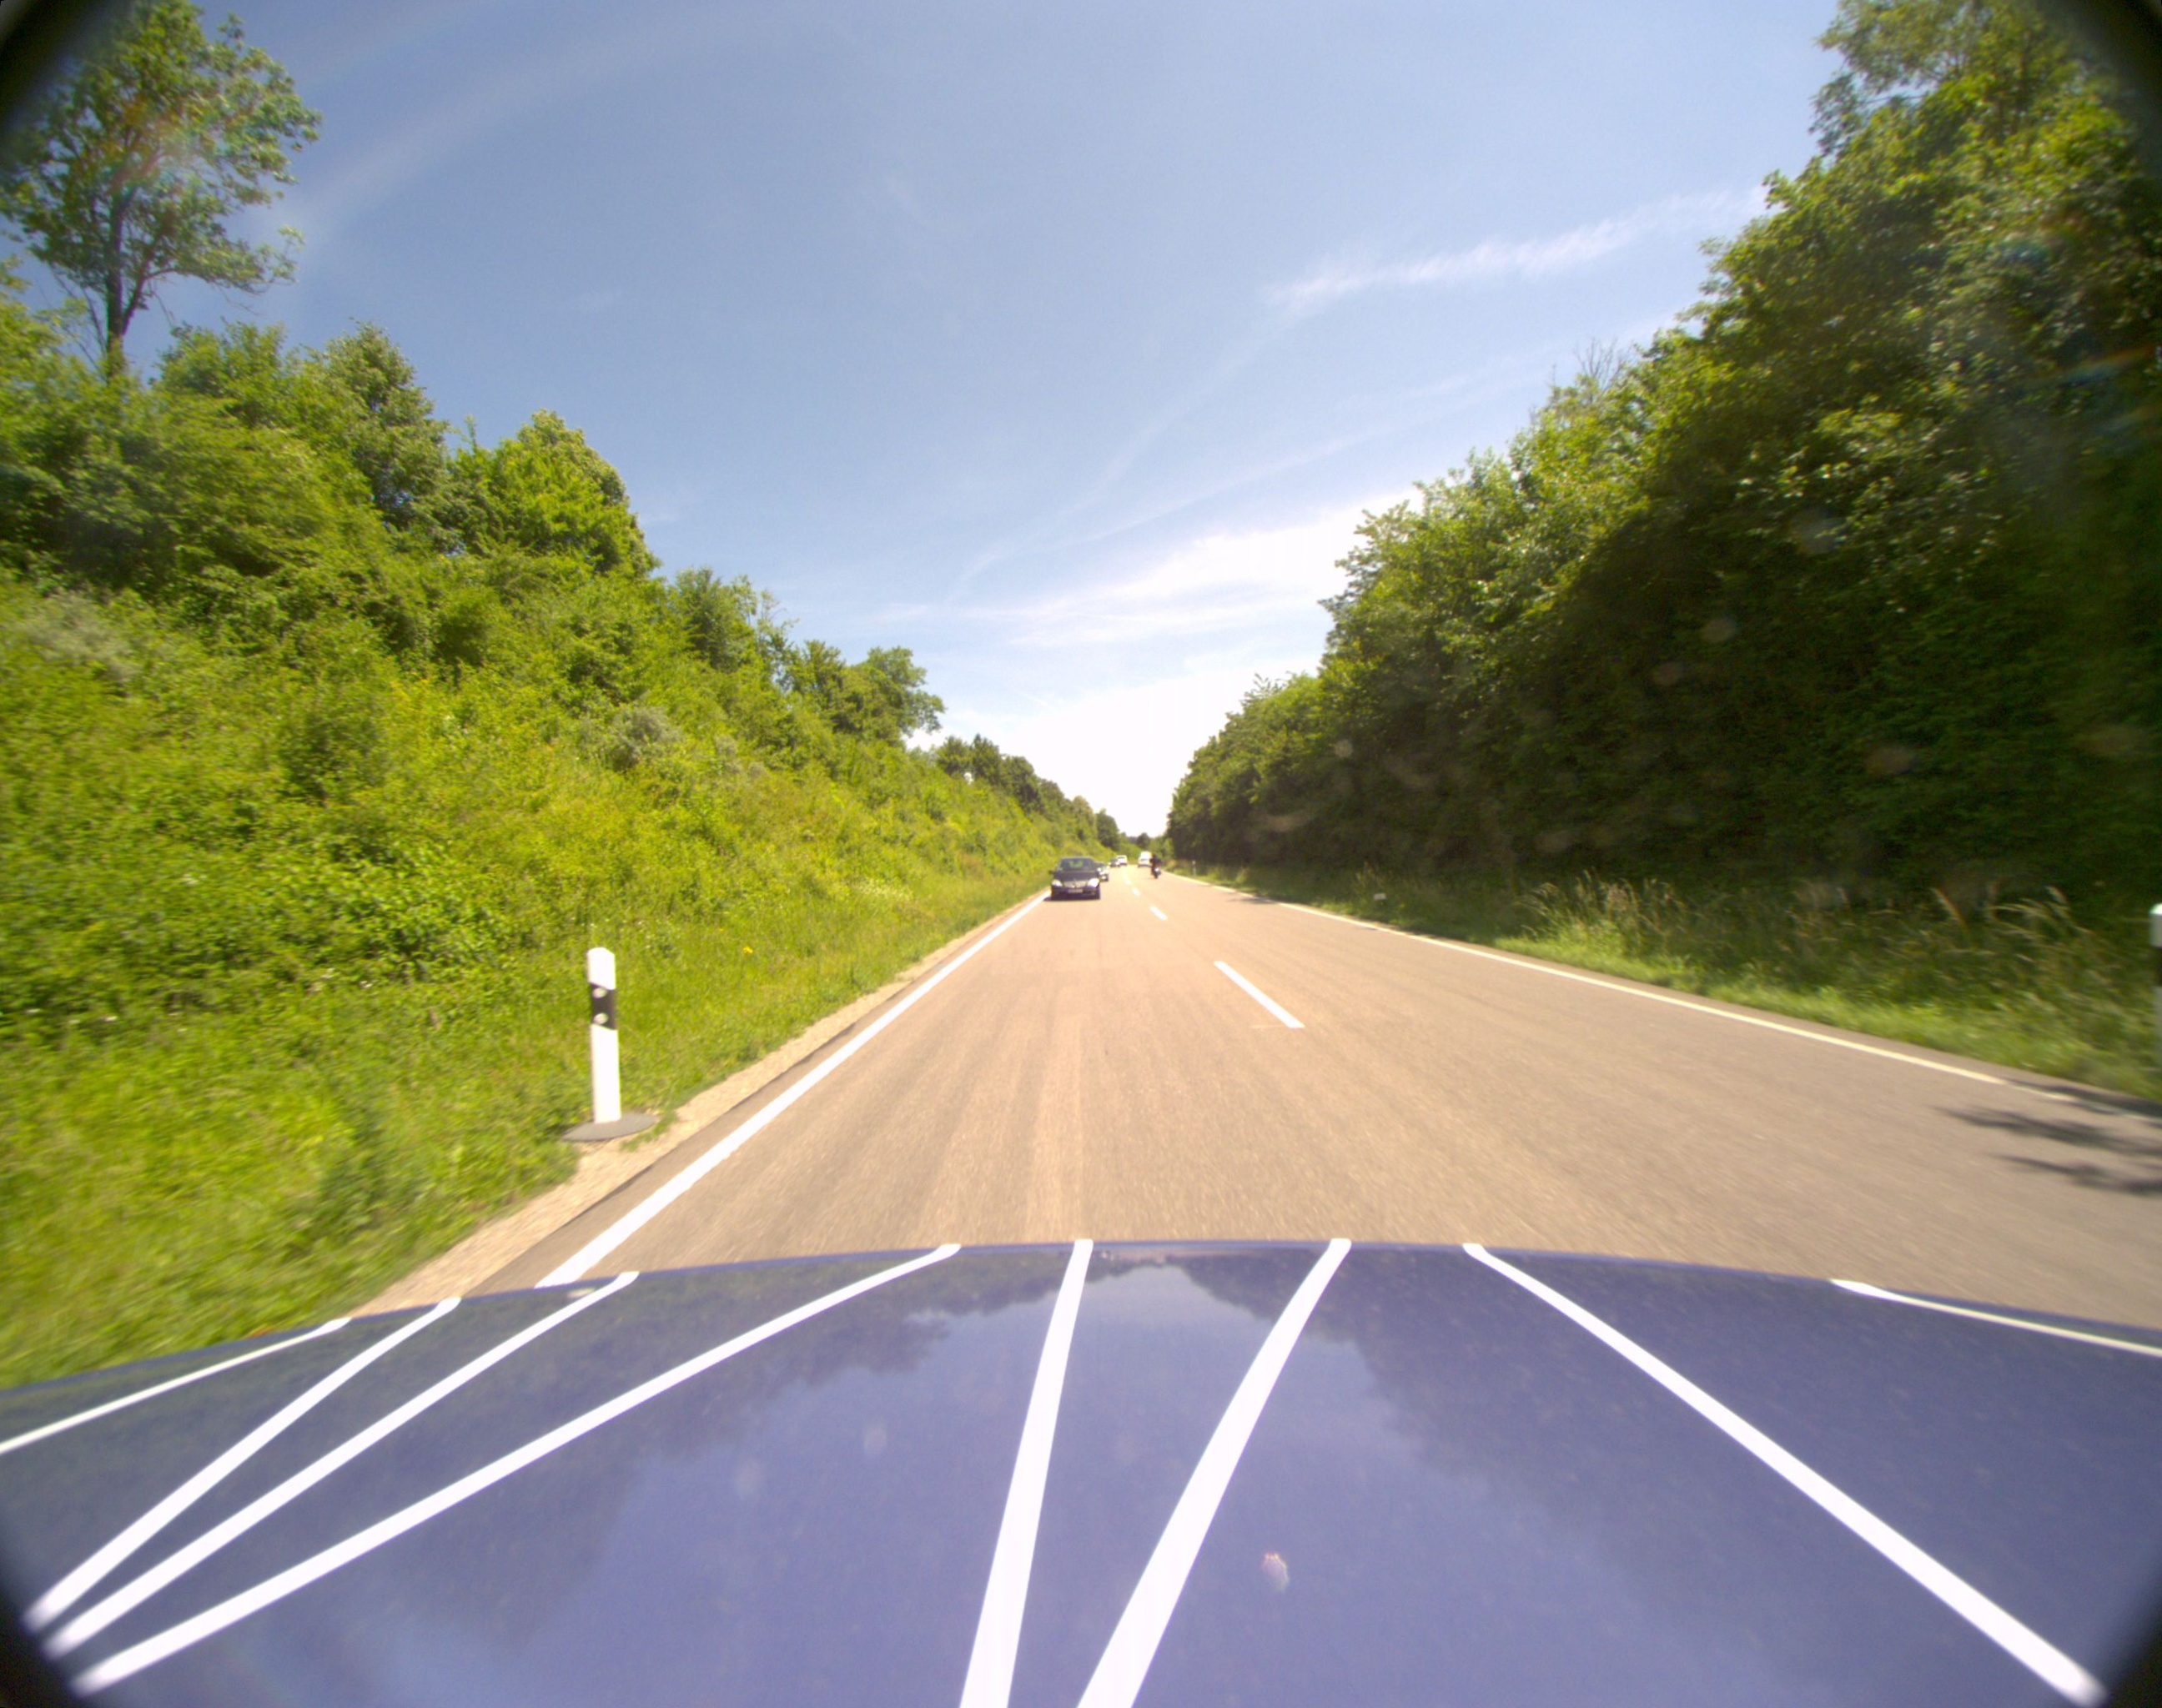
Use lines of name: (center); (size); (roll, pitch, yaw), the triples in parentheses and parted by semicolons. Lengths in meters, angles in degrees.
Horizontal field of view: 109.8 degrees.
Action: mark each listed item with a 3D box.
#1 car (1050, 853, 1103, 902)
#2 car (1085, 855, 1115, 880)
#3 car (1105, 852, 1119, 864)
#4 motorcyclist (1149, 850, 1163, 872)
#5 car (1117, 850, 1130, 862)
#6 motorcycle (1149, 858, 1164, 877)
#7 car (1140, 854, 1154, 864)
car: (-0.098, 0.819, 28.995); (1.783, 1.676, 4.779); (-2, 0, 2)
car: (1.268, 0.793, 48.315); (1.709, 1.444, 5.415); (-2, 0, 3)
car: (4.730, 0.634, 114.666); (2.045, 1.743, 4.167); (-2, 0, 3)
motorcyclist: (5.089, 0.454, 51.415); (0.851, 1.429, 1.074); (-2, 0, 2)
car: (7.795, 0.322, 138.399); (1.997, 2.002, 4.001); (-2, 0, 6)
motorcycle: (5.086, 0.873, 51.244); (0.866, 1.214, 2.443); (-2, 0, 2)
car: (9.282, 0.692, 107.483); (1.681, 1.452, 4.760); (-2, 0, 2)
